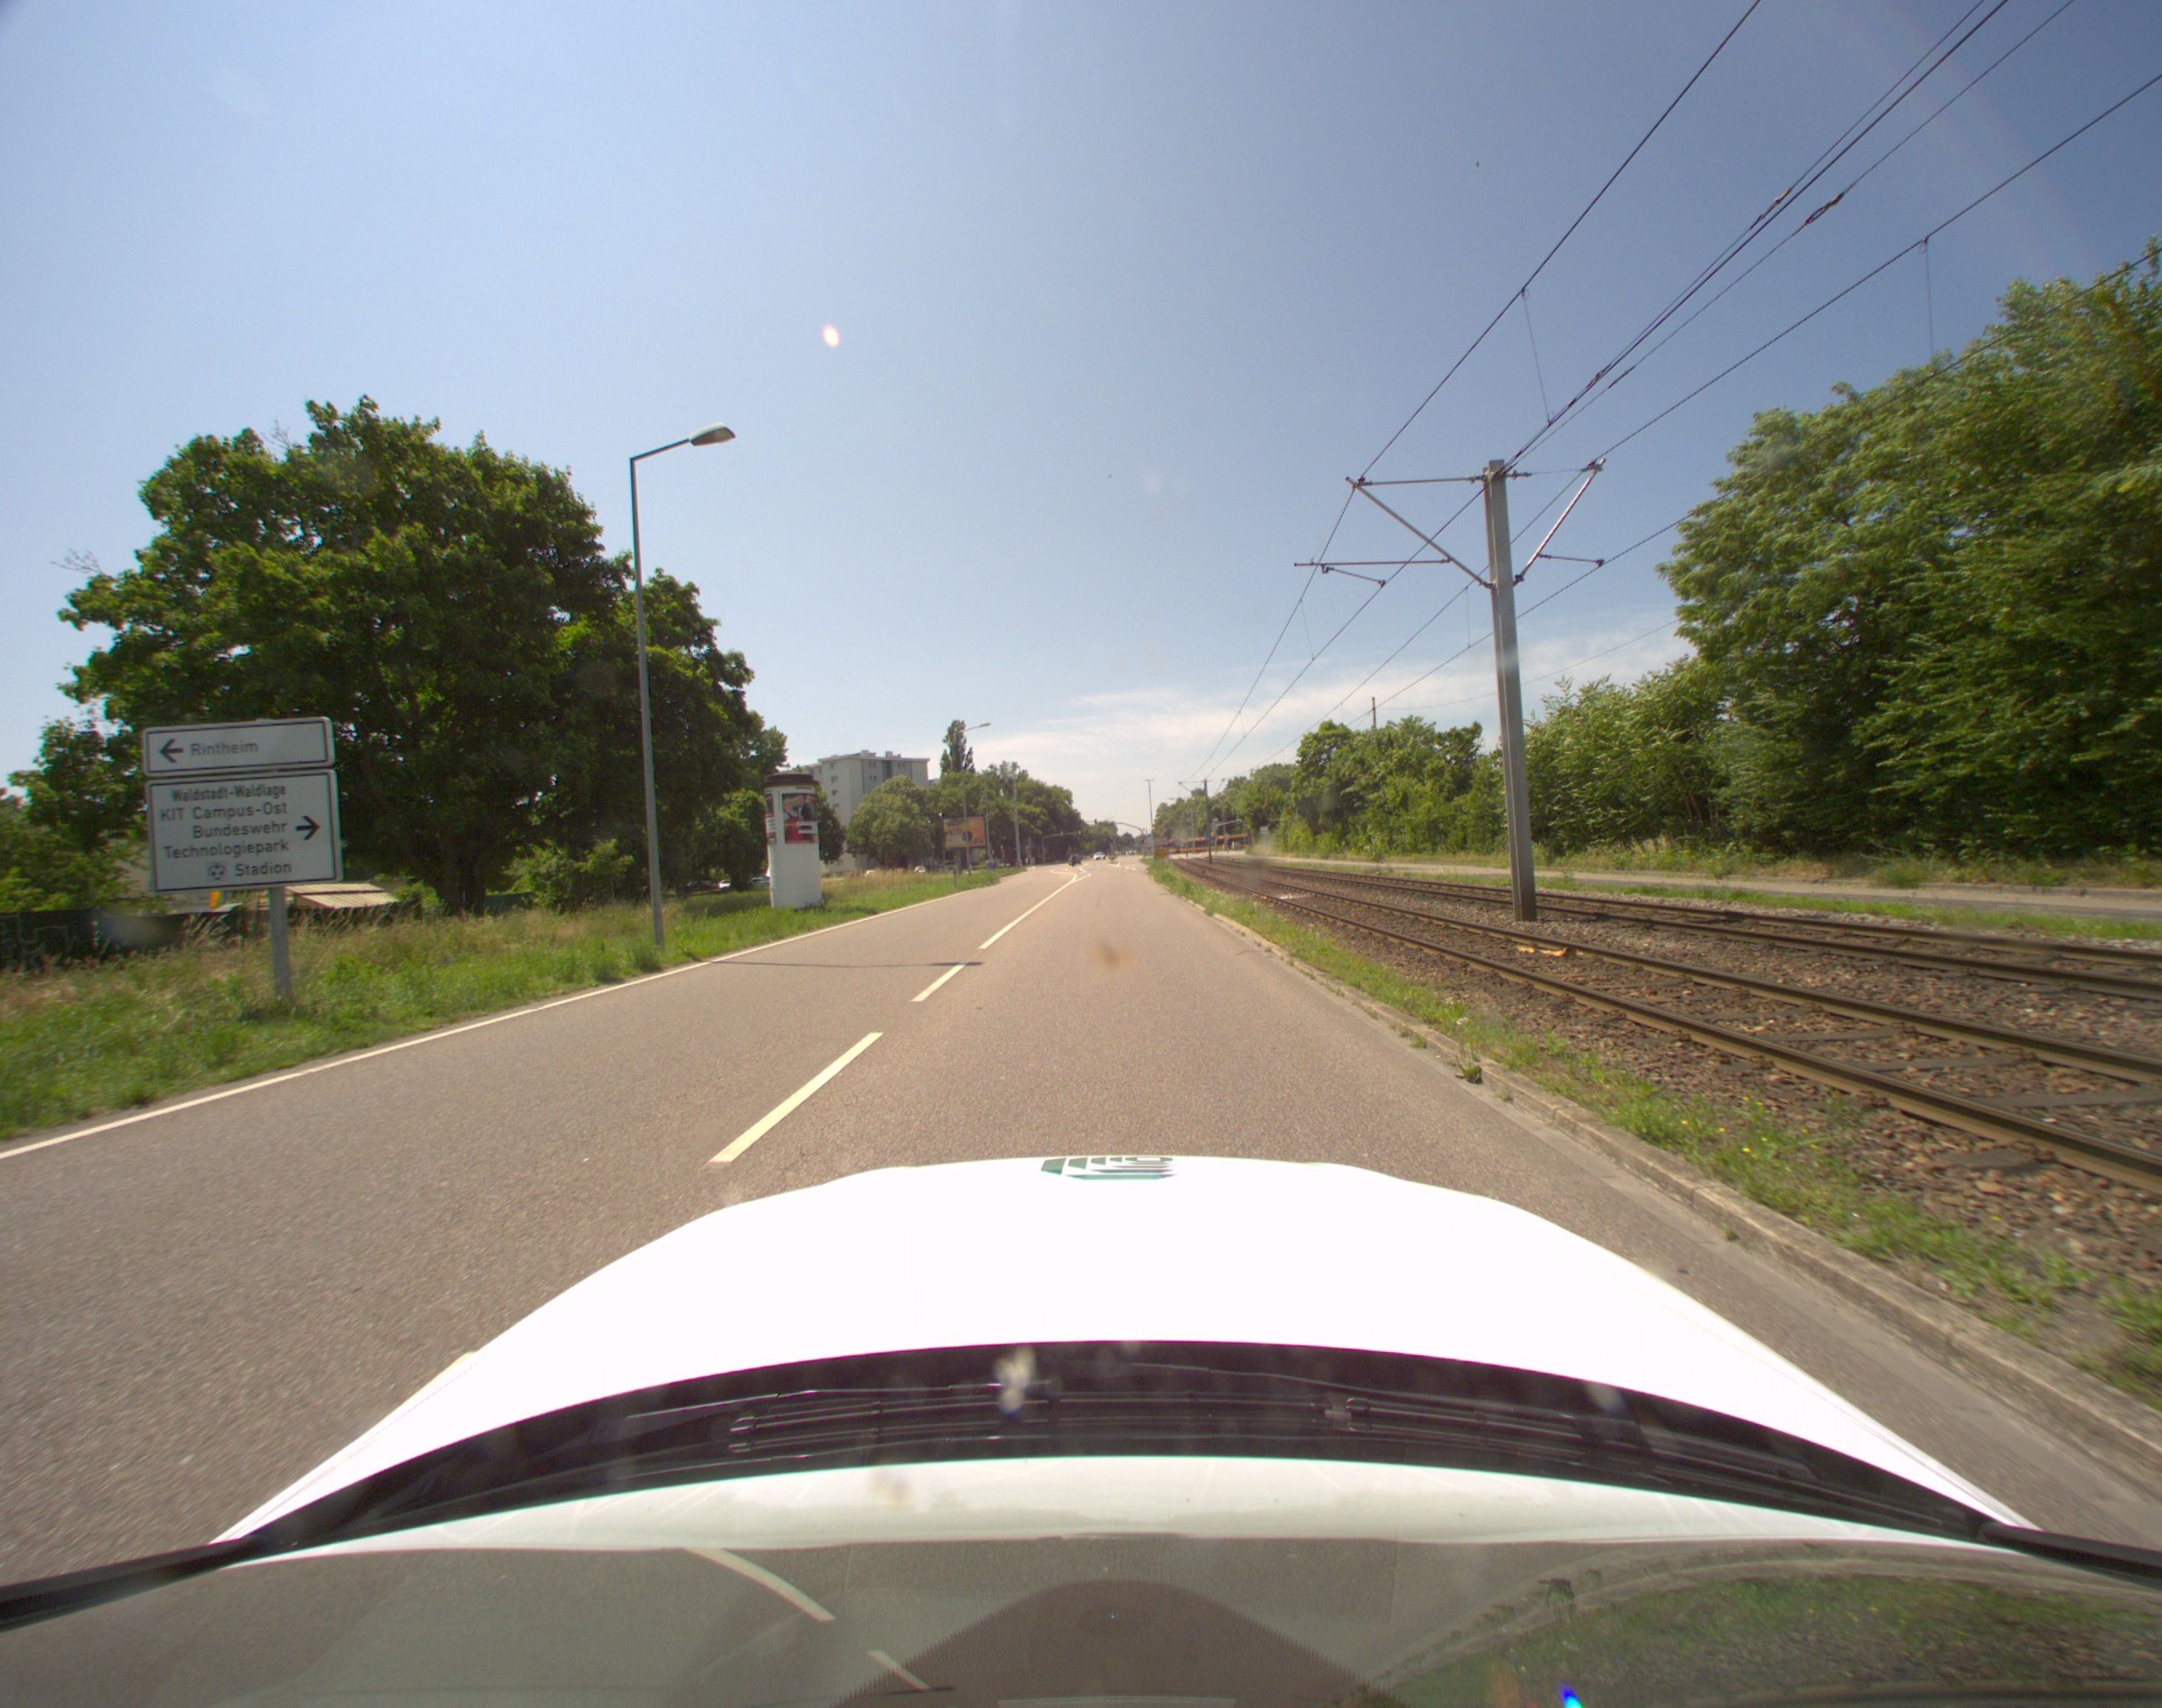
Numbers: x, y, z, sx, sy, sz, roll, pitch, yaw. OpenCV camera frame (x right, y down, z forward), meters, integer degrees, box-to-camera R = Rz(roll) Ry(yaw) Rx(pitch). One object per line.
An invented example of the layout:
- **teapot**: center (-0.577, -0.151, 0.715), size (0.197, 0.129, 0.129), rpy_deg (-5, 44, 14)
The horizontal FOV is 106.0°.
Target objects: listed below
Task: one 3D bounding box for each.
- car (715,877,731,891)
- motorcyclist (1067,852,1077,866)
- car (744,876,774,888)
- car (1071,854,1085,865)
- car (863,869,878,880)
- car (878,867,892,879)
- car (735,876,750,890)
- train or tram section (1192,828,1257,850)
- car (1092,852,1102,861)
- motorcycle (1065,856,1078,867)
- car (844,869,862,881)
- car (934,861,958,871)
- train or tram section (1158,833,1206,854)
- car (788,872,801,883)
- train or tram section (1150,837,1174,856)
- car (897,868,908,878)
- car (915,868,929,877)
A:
- **car**: center (-54.502, 4.545, 124.108), size (1.852, 1.947, 3.973), rpy_deg (-3, 0, -19)
- **motorcyclist**: center (-1.100, 0.618, 102.554), size (0.783, 1.643, 1.217), rpy_deg (-3, 0, 18)
- **car**: center (-46.158, 3.986, 116.641), size (3.901, 1.468, 1.762), rpy_deg (-4, 0, -22)
- **car**: center (-0.373, 0.790, 118.271), size (1.900, 1.499, 4.631), rpy_deg (-2, 0, 1)
- **car**: center (-34.094, 3.334, 131.853), size (1.712, 1.592, 3.968), rpy_deg (-3, 0, -24)
- **car**: center (-31.923, 3.124, 132.725), size (1.710, 1.800, 3.973), rpy_deg (-3, 0, -19)
- **car**: center (-51.721, 4.408, 124.561), size (1.852, 1.947, 3.973), rpy_deg (-3, 0, -19)
- **train or tram section**: center (31.696, -3.272, 180.313), size (13.863, 3.919, 2.941), rpy_deg (-4, -3, 29)
- **car**: center (3.317, 0.460, 166.352), size (1.777, 1.628, 3.869), rpy_deg (-4, 0, 3)
- **motorcycle**: center (-1.156, 0.913, 102.371), size (0.840, 1.255, 2.461), rpy_deg (-3, 0, 18)
- **car**: center (-36.723, 3.417, 131.045), size (1.857, 1.668, 3.964), rpy_deg (-4, 0, -27)
- **car**: center (-26.475, 2.328, 159.770), size (1.769, 1.768, 4.577), rpy_deg (-4, 0, 43)
- **train or tram section**: center (23.099, -2.439, 187.485), size (2.936, 3.812, 13.310), rpy_deg (-1, -4, -34)
- **car**: center (-44.945, 3.706, 127.855), size (1.693, 1.562, 3.813), rpy_deg (-4, 0, -19)
- **train or tram section**: center (19.616, -1.766, 197.654), size (2.911, 3.812, 13.042), rpy_deg (-2, -3, -6)
- **car**: center (-29.207, 3.107, 133.320), size (1.620, 1.464, 3.982), rpy_deg (-3, 0, -13)
- **car**: center (-26.352, 3.019, 134.777), size (1.629, 1.380, 3.975), rpy_deg (-3, 0, -18)
